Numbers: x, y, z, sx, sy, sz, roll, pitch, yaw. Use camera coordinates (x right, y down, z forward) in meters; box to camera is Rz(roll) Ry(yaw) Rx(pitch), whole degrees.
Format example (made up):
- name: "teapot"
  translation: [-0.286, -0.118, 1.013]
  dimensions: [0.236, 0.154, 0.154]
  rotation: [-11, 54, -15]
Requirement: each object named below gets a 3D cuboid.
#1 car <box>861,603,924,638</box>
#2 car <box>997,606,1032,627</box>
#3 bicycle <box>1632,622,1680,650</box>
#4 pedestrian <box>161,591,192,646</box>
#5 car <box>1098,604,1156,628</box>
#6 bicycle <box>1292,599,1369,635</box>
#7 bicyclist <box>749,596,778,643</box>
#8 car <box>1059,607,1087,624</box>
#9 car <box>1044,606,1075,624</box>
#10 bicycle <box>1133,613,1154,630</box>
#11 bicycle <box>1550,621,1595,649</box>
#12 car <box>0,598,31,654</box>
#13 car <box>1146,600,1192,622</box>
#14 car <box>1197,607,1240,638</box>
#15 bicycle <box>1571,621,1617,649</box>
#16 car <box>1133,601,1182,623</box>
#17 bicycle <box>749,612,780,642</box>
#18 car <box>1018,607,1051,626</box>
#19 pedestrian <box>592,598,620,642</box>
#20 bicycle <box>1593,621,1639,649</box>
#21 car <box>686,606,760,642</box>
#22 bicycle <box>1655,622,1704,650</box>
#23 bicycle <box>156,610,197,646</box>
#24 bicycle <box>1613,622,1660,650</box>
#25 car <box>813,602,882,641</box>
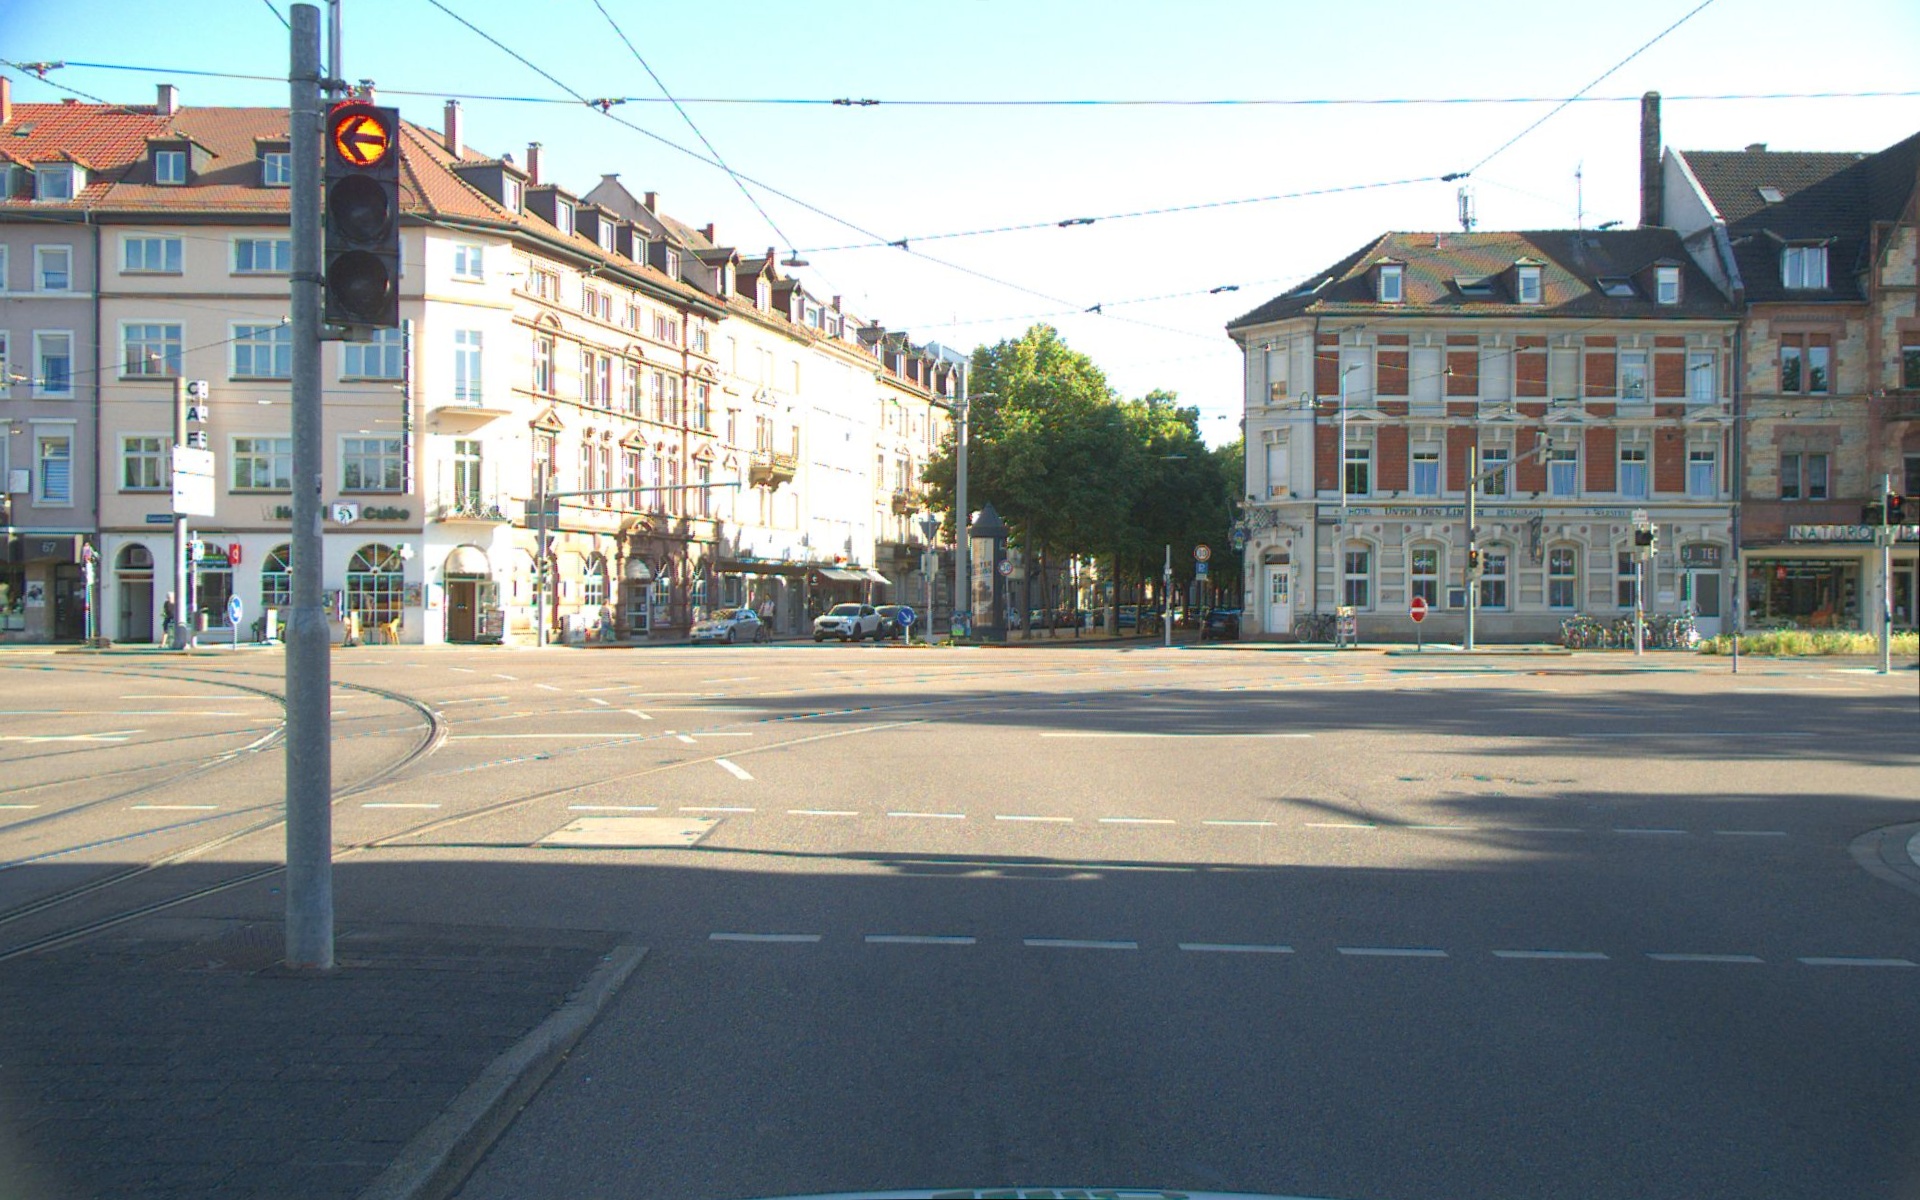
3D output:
- name: "car"
  translation: [-2.952, 0.886, 73.556]
  dimensions: [1.642, 1.509, 3.950]
  rotation: [0, 0, 16]
- name: "car"
  translation: [3.813, 1.155, 115.520]
  dimensions: [1.642, 1.378, 3.593]
  rotation: [0, 0, 16]
- name: "bicycle"
  translation: [22.489, 1.157, 53.488]
  dimensions: [0.645, 0.855, 2.160]
  rotation: [1, 0, 0]
- name: "pedestrian"
  translation: [-24.660, 0.570, 52.074]
  dimensions: [0.570, 1.699, 0.752]
  rotation: [1, -1, -1]
- name: "car"
  translation: [11.705, 1.113, 115.840]
  dimensions: [3.819, 1.677, 1.684]
  rotation: [0, 0, 16]
- name: "bicycle"
  translation: [12.864, 0.590, 57.463]
  dimensions: [2.504, 1.194, 0.818]
  rotation: [1, -1, -4]
- name: "bicyclist"
  translation: [-7.717, 0.765, 65.008]
  dimensions: [0.761, 1.834, 1.056]
  rotation: [1, -1, 13]
- name: "car"
  translation: [9.306, 1.247, 135.901]
  dimensions: [1.642, 1.378, 3.593]
  rotation: [0, 0, 16]
- name: "car"
  translation: [7.881, 1.210, 130.849]
  dimensions: [1.642, 1.378, 3.593]
  rotation: [0, 0, 16]
- name: "bicycle"
  translation: [11.045, 1.294, 99.633]
  dimensions: [0.625, 1.039, 1.840]
  rotation: [1, 0, -14]
- name: "bicycle"
  translation: [19.759, 1.110, 53.374]
  dimensions: [0.645, 0.855, 2.160]
  rotation: [1, 0, 0]
- name: "car"
  translation: [-32.154, 0.787, 52.257]
  dimensions: [4.276, 1.741, 2.306]
  rotation: [1, 0, 1]
- name: "car"
  translation: [16.931, 0.882, 133.753]
  dimensions: [3.503, 1.677, 1.684]
  rotation: [0, 0, 16]
- name: "car"
  translation: [12.953, 1.106, 82.755]
  dimensions: [1.642, 1.509, 3.950]
  rotation: [0, 0, 16]
- name: "bicycle"
  translation: [20.479, 1.123, 53.462]
  dimensions: [0.645, 0.855, 2.160]
  rotation: [1, 0, 0]
- name: "car"
  translation: [15.309, 0.956, 128.253]
  dimensions: [3.503, 1.677, 1.684]
  rotation: [0, 0, 16]
- name: "bicycle"
  translation: [-7.684, 1.045, 65.130]
  dimensions: [0.687, 1.137, 1.636]
  rotation: [1, 0, 13]
- name: "car"
  translation: [5.523, 1.194, 122.507]
  dimensions: [1.642, 1.378, 3.593]
  rotation: [0, 0, 16]
- name: "pedestrian"
  translation: [-13.681, 0.768, 63.954]
  dimensions: [0.759, 1.699, 0.831]
  rotation: [1, -1, 15]
- name: "bicycle"
  translation: [21.191, 1.135, 53.475]
  dimensions: [0.645, 0.855, 2.160]
  rotation: [1, 0, 0]
- name: "car"
  translation: [-9.544, 0.931, 66.748]
  dimensions: [1.642, 1.378, 3.593]
  rotation: [0, 0, 16]
- name: "bicycle"
  translation: [23.278, 1.171, 53.534]
  dimensions: [0.645, 0.855, 2.160]
  rotation: [1, 0, 0]
- name: "bicycle"
  translation: [-24.664, 0.867, 52.065]
  dimensions: [0.561, 1.096, 1.497]
  rotation: [1, 0, -1]
- name: "bicycle"
  translation: [21.861, 1.147, 53.509]
  dimensions: [0.645, 0.855, 2.160]
  rotation: [1, 0, 0]
- name: "car"
  translation: [-4.539, 0.842, 67.230]
  dimensions: [1.642, 1.509, 3.774]
  rotation: [0, 0, 16]
